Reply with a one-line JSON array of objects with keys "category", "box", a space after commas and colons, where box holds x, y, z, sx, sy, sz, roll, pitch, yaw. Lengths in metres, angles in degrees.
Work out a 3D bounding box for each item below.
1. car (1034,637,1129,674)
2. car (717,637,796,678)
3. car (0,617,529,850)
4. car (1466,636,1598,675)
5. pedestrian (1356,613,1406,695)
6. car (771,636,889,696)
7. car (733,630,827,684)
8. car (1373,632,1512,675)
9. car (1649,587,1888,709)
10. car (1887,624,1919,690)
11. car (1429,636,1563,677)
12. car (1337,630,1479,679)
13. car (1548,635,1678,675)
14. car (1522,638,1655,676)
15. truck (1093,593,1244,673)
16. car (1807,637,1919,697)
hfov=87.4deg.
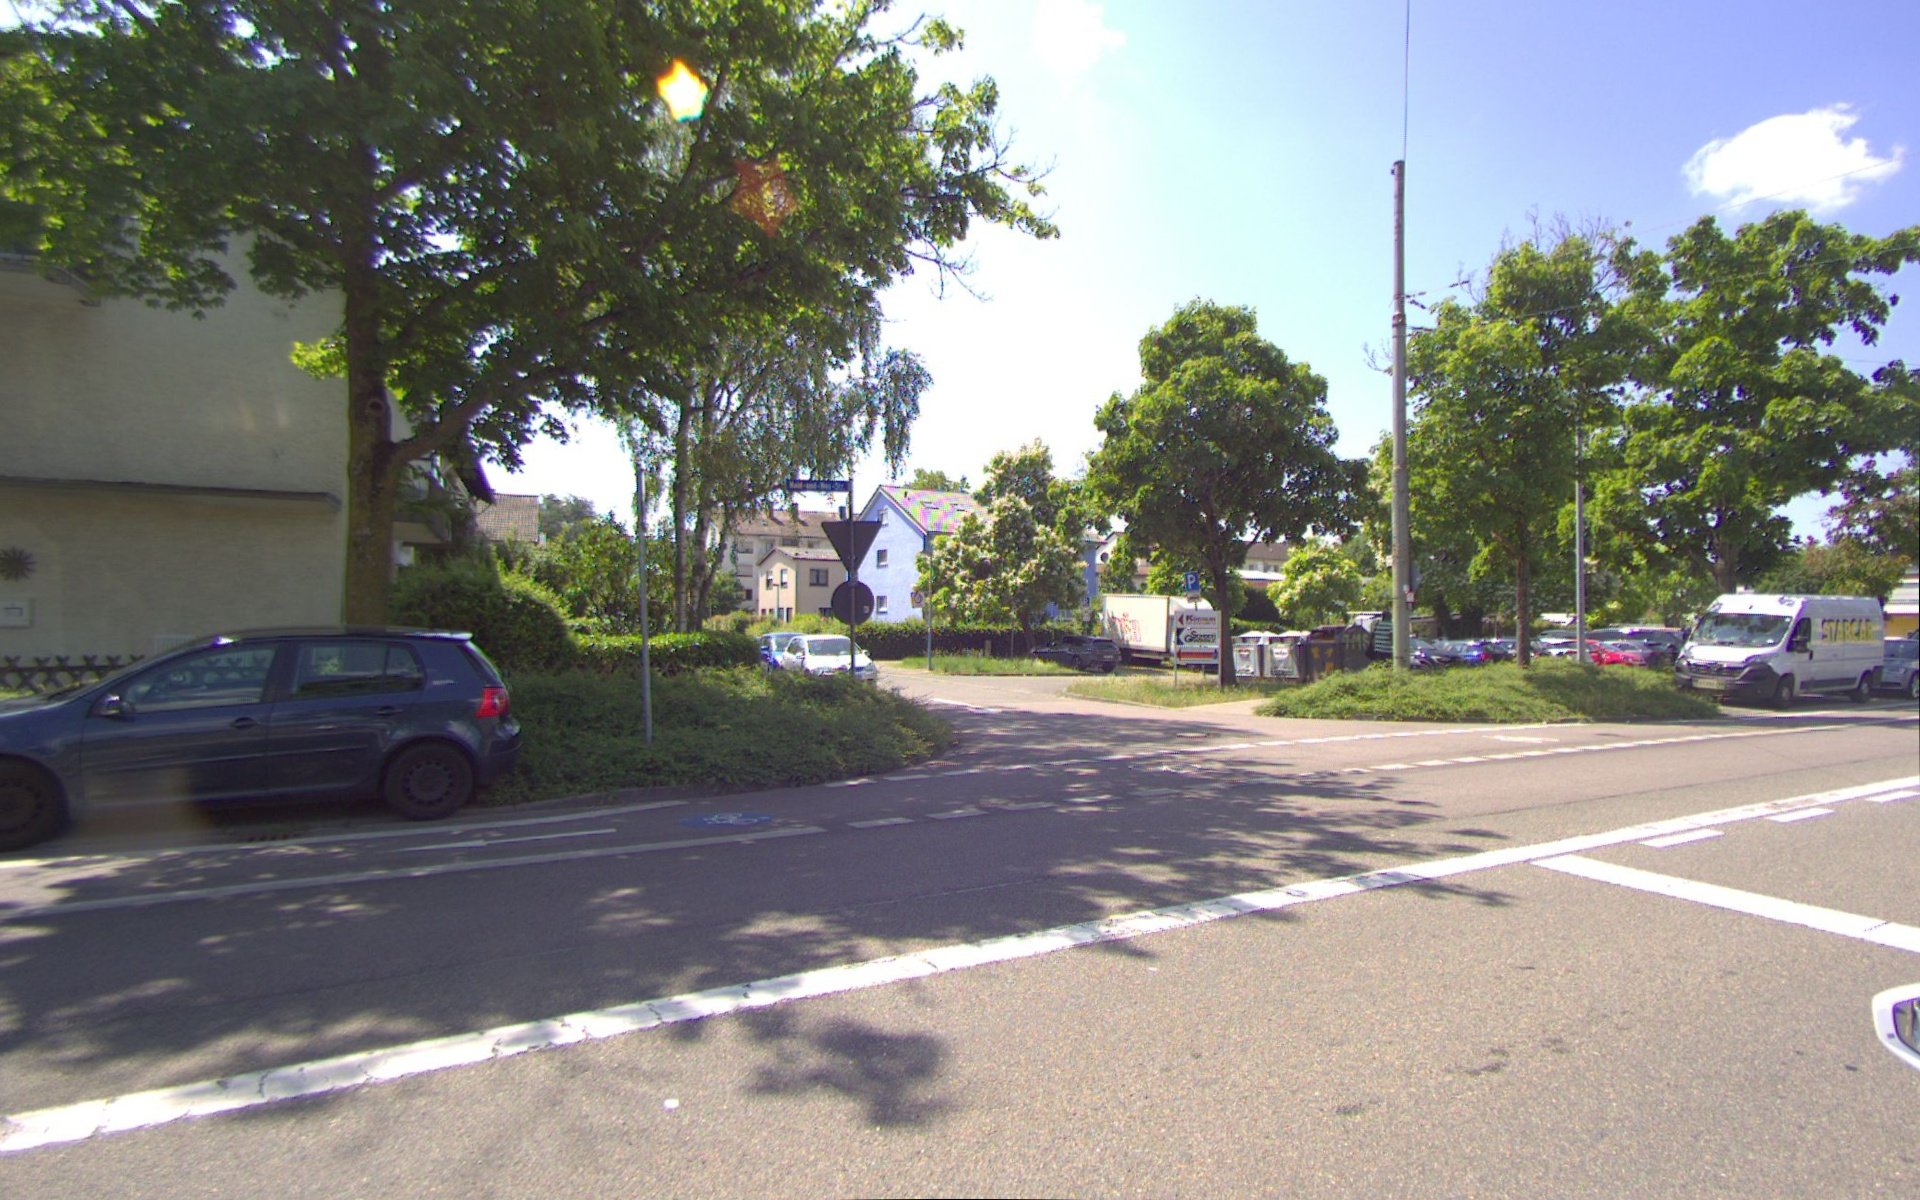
[{"category": "car", "box": [4.849, 2.211, 40.661, 1.753, 1.417, 3.966, 1, -2, -32]}, {"category": "car", "box": [-7.330, 2.016, 35.926, 1.788, 1.334, 3.973, 1, -2, -27]}, {"category": "car", "box": [-5.751, 0.928, 8.076, 4.001, 1.500, 1.765, 1, 0, -31]}, {"category": "car", "box": [21.463, 2.059, 37.833, 1.785, 1.357, 3.967, 1, -2, -31]}, {"category": "pedestrian", "box": [9.840, 1.240, 23.449, 0.960, 1.847, 0.793, 0, -1, 32]}, {"category": "car", "box": [-3.421, 1.639, 25.880, 1.788, 1.376, 3.973, 1, -2, -27]}, {"category": "car", "box": [-5.597, 1.698, 30.915, 1.788, 1.536, 3.973, 1, -2, -27]}, {"category": "car", "box": [16.461, 1.797, 34.444, 1.785, 1.357, 3.967, 1, -2, -31]}, {"category": "car", "box": [19.055, 1.059, 23.595, 6.117, 2.520, 2.147, 1, 2, -29]}, {"category": "car", "box": [29.828, 1.704, 30.107, 4.221, 1.920, 1.860, 1, -2, -31]}, {"category": "car", "box": [19.316, 1.990, 36.339, 1.785, 1.357, 3.967, 1, -2, -31]}, {"category": "car", "box": [14.594, 1.739, 32.897, 1.785, 1.461, 3.967, 1, -2, -31]}, {"category": "car", "box": [26.005, 2.158, 40.131, 1.784, 1.461, 3.967, 1, -2, -31]}, {"category": "car", "box": [24.028, 2.140, 38.518, 1.785, 1.357, 3.967, 1, -2, -31]}, {"category": "truck", "box": [9.093, 1.442, 44.656, 2.307, 3.270, 7.147, 1, -2, -32]}, {"category": "car", "box": [24.425, 1.722, 26.521, 4.292, 1.456, 1.860, 1, -2, -31]}]
